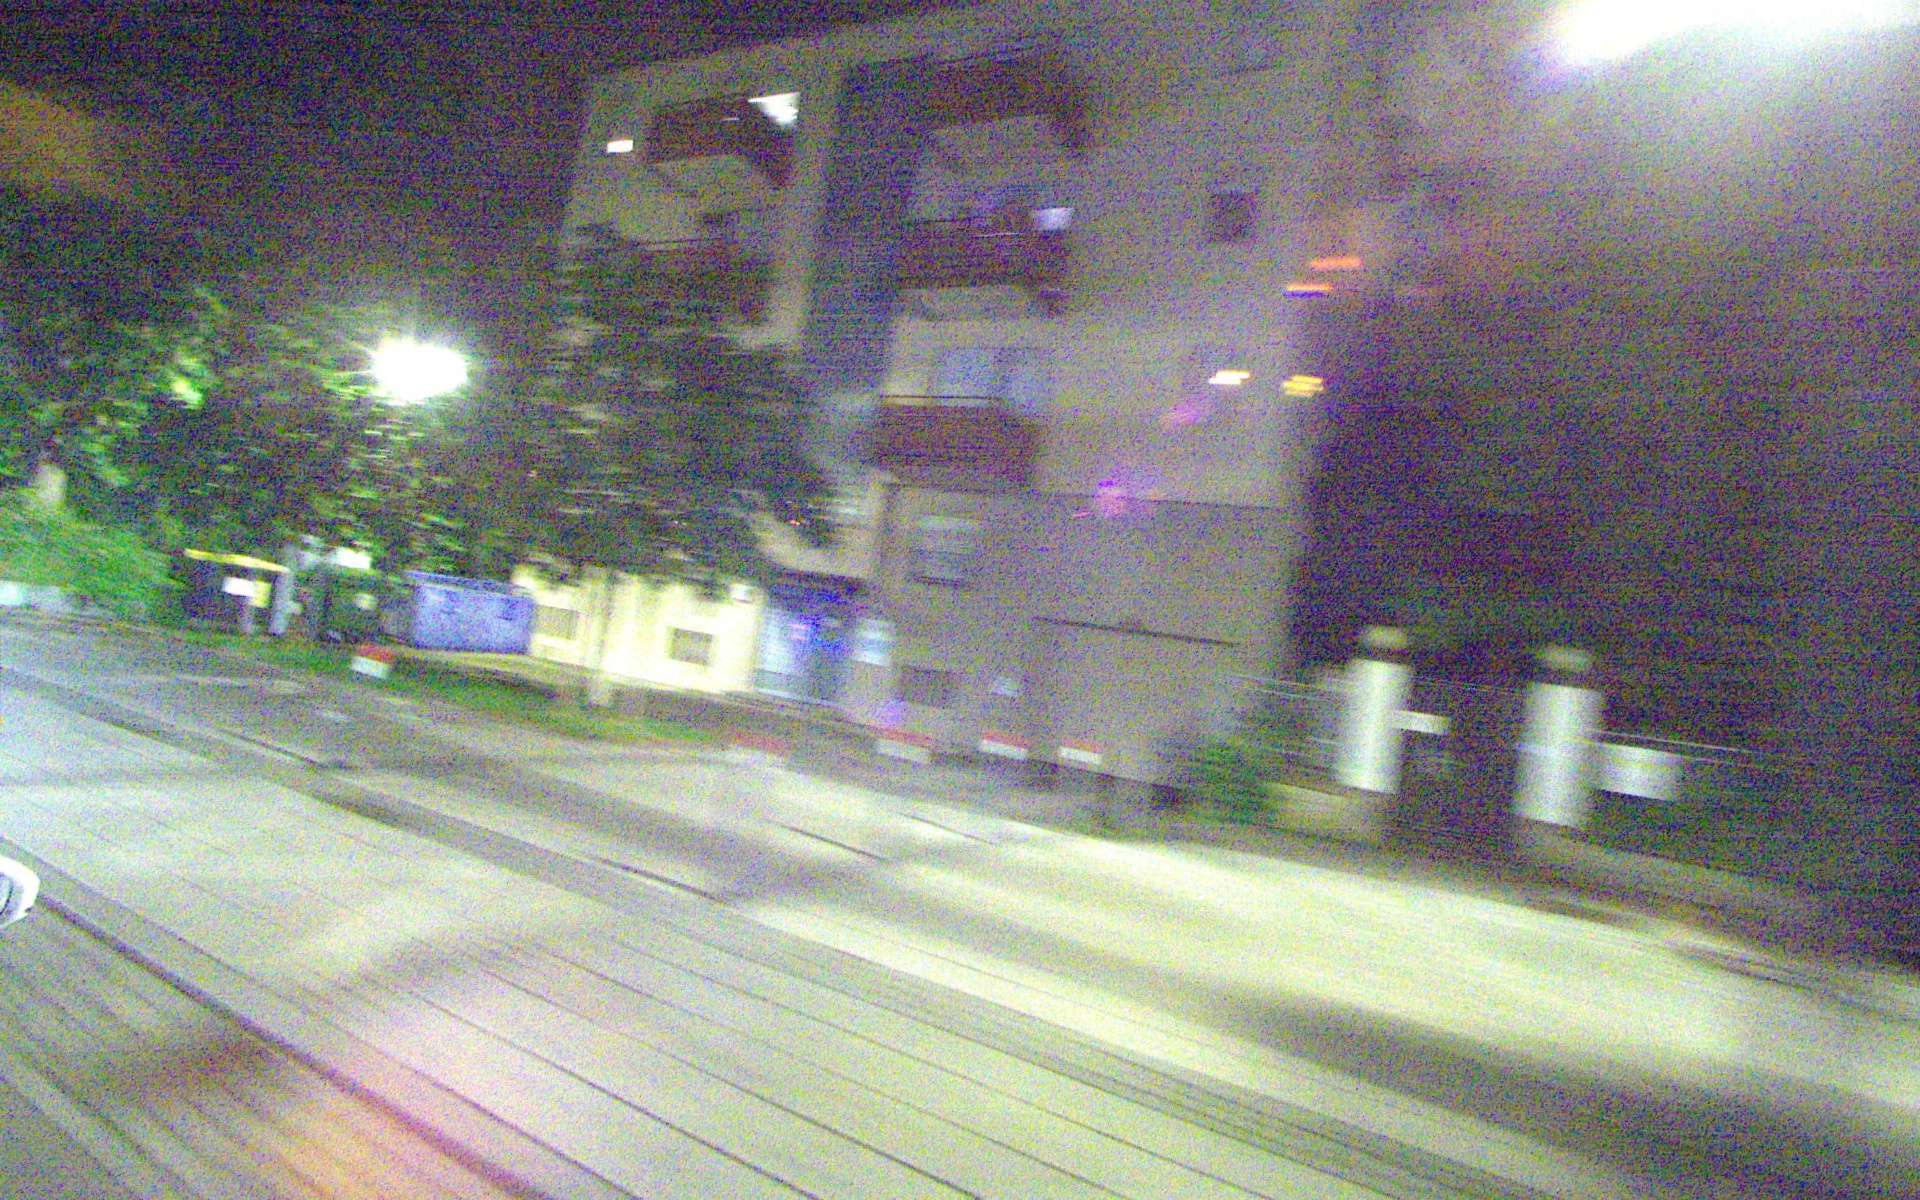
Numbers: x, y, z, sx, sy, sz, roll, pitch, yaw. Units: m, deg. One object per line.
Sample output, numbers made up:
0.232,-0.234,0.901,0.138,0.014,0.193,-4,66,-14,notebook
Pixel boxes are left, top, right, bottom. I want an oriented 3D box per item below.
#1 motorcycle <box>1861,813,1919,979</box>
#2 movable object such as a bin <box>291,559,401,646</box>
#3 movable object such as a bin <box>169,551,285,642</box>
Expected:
8.002,2.438,8.139,0.551,1.199,1.635,7,-3,27,motorcycle
-11.680,0.055,19.155,1.098,1.435,1.264,6,-2,29,movable object such as a bin
-12.592,-0.051,17.306,0.992,1.320,1.109,7,-4,26,movable object such as a bin
